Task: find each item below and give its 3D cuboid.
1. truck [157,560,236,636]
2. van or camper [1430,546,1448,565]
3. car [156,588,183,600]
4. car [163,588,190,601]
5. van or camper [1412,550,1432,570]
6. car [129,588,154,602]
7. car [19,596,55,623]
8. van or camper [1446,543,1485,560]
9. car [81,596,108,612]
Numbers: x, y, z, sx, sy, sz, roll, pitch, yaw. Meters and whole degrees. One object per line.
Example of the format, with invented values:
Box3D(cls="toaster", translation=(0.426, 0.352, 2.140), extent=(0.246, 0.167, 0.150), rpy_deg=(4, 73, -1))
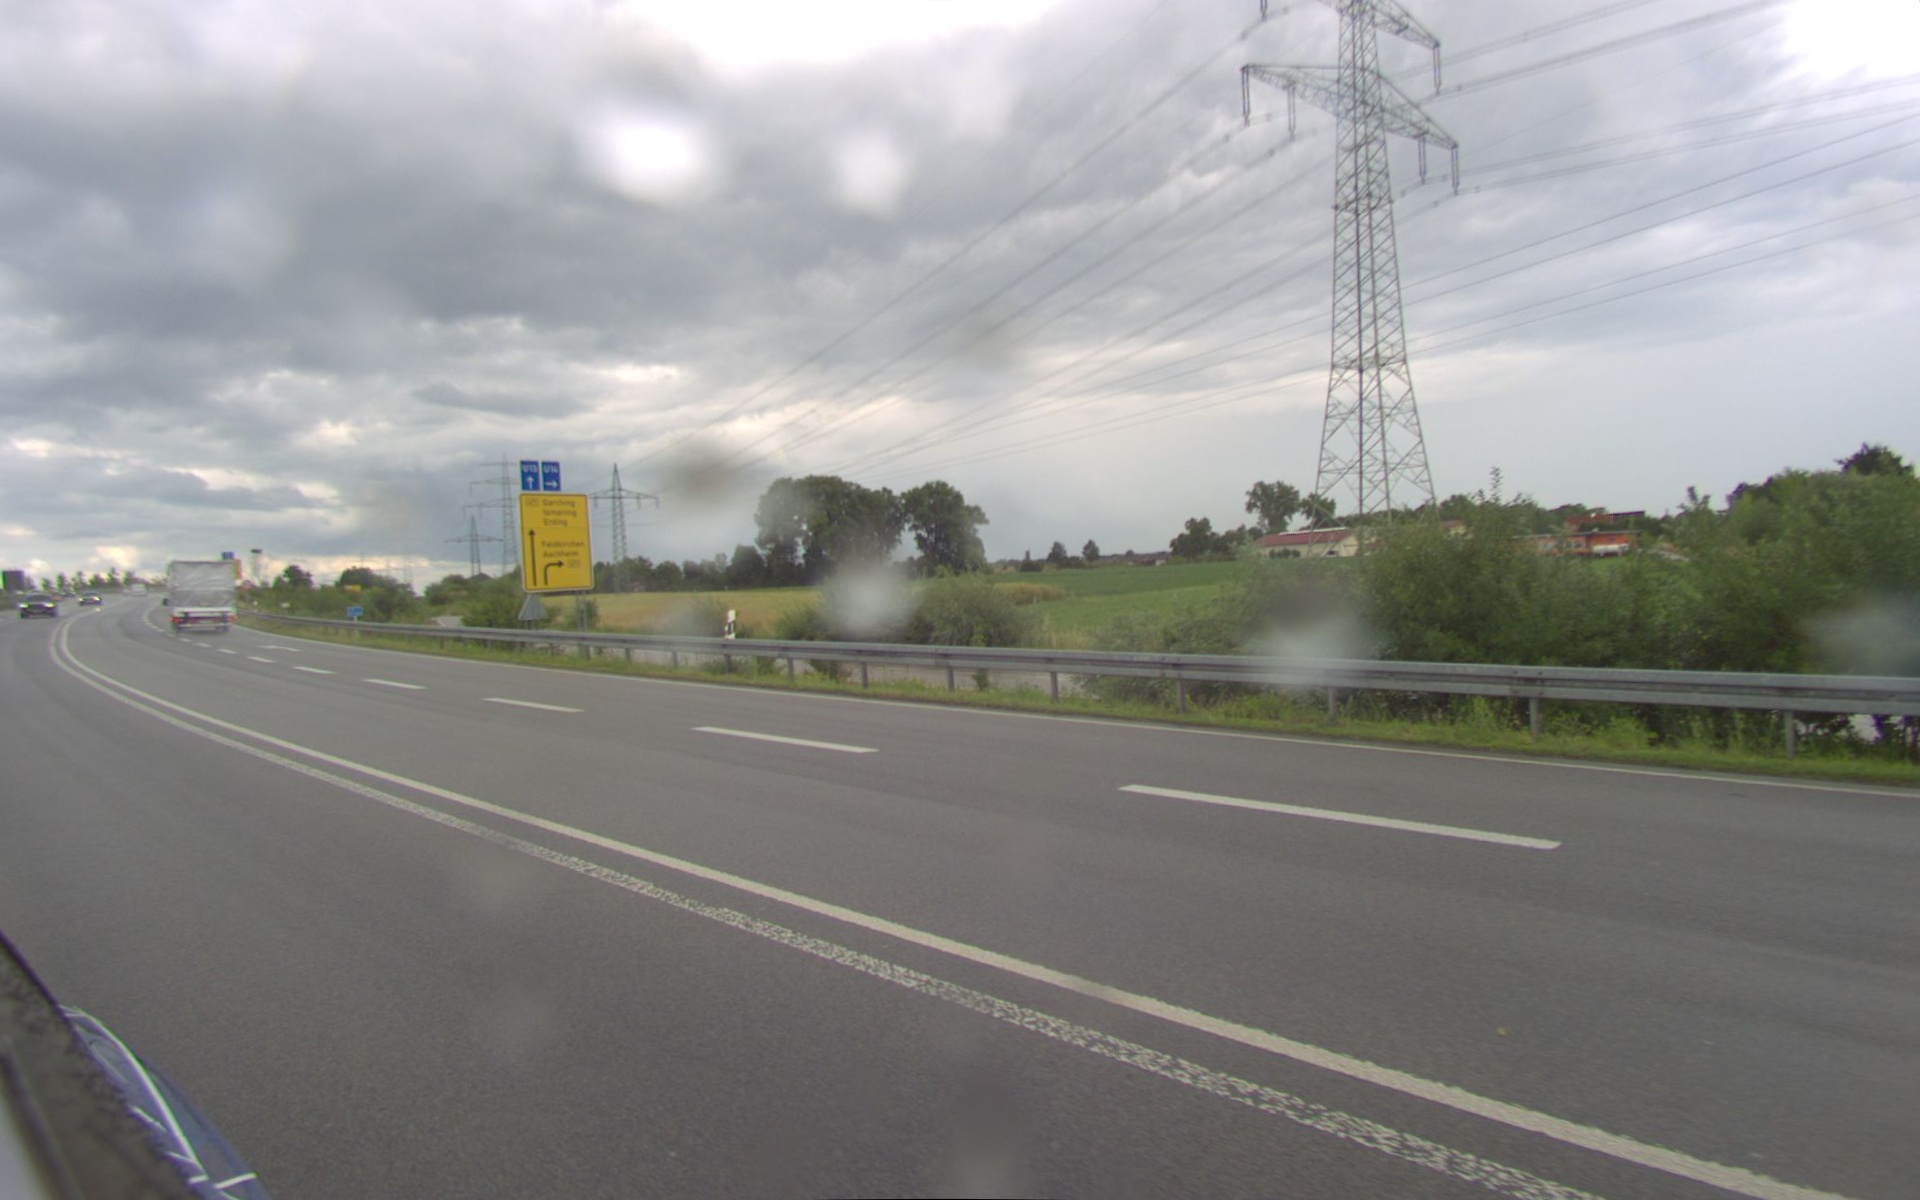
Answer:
Box3D(cls="truck", translation=(-36.251, -0.033, 47.957), extent=(2.450, 3.317, 7.291), rpy_deg=(0, -1, -41))
Box3D(cls="van or camper", translation=(76.546, -7.097, 161.840), extent=(2.318, 2.651, 5.665), rpy_deg=(-1, 4, 28))
Box3D(cls="car", translation=(-122.321, -0.933, 156.636), extent=(1.916, 1.672, 4.662), rpy_deg=(-4, 4, -22))
Box3D(cls="car", translation=(-94.223, -0.643, 121.768), extent=(1.870, 1.452, 4.915), rpy_deg=(-3, 2, -30))
Box3D(cls="van or camper", translation=(68.323, -5.911, 149.653), extent=(2.318, 2.651, 5.665), rpy_deg=(-1, 4, 28))
Box3D(cls="car", translation=(-108.415, -0.671, 134.035), extent=(1.765, 1.678, 4.384), rpy_deg=(-3, 2, -29))
Box3D(cls="car", translation=(-64.257, 0.667, 70.476), extent=(1.770, 1.782, 4.004), rpy_deg=(1, -2, -42))
Box3D(cls="van or camper", translation=(86.181, -8.242, 172.623), extent=(5.706, 2.651, 2.301), rpy_deg=(-1, 4, 36))
Box3D(cls="car", translation=(-89.715, 0.436, 104.924), extent=(1.721, 1.508, 4.059), rpy_deg=(-3, 0, -36))
